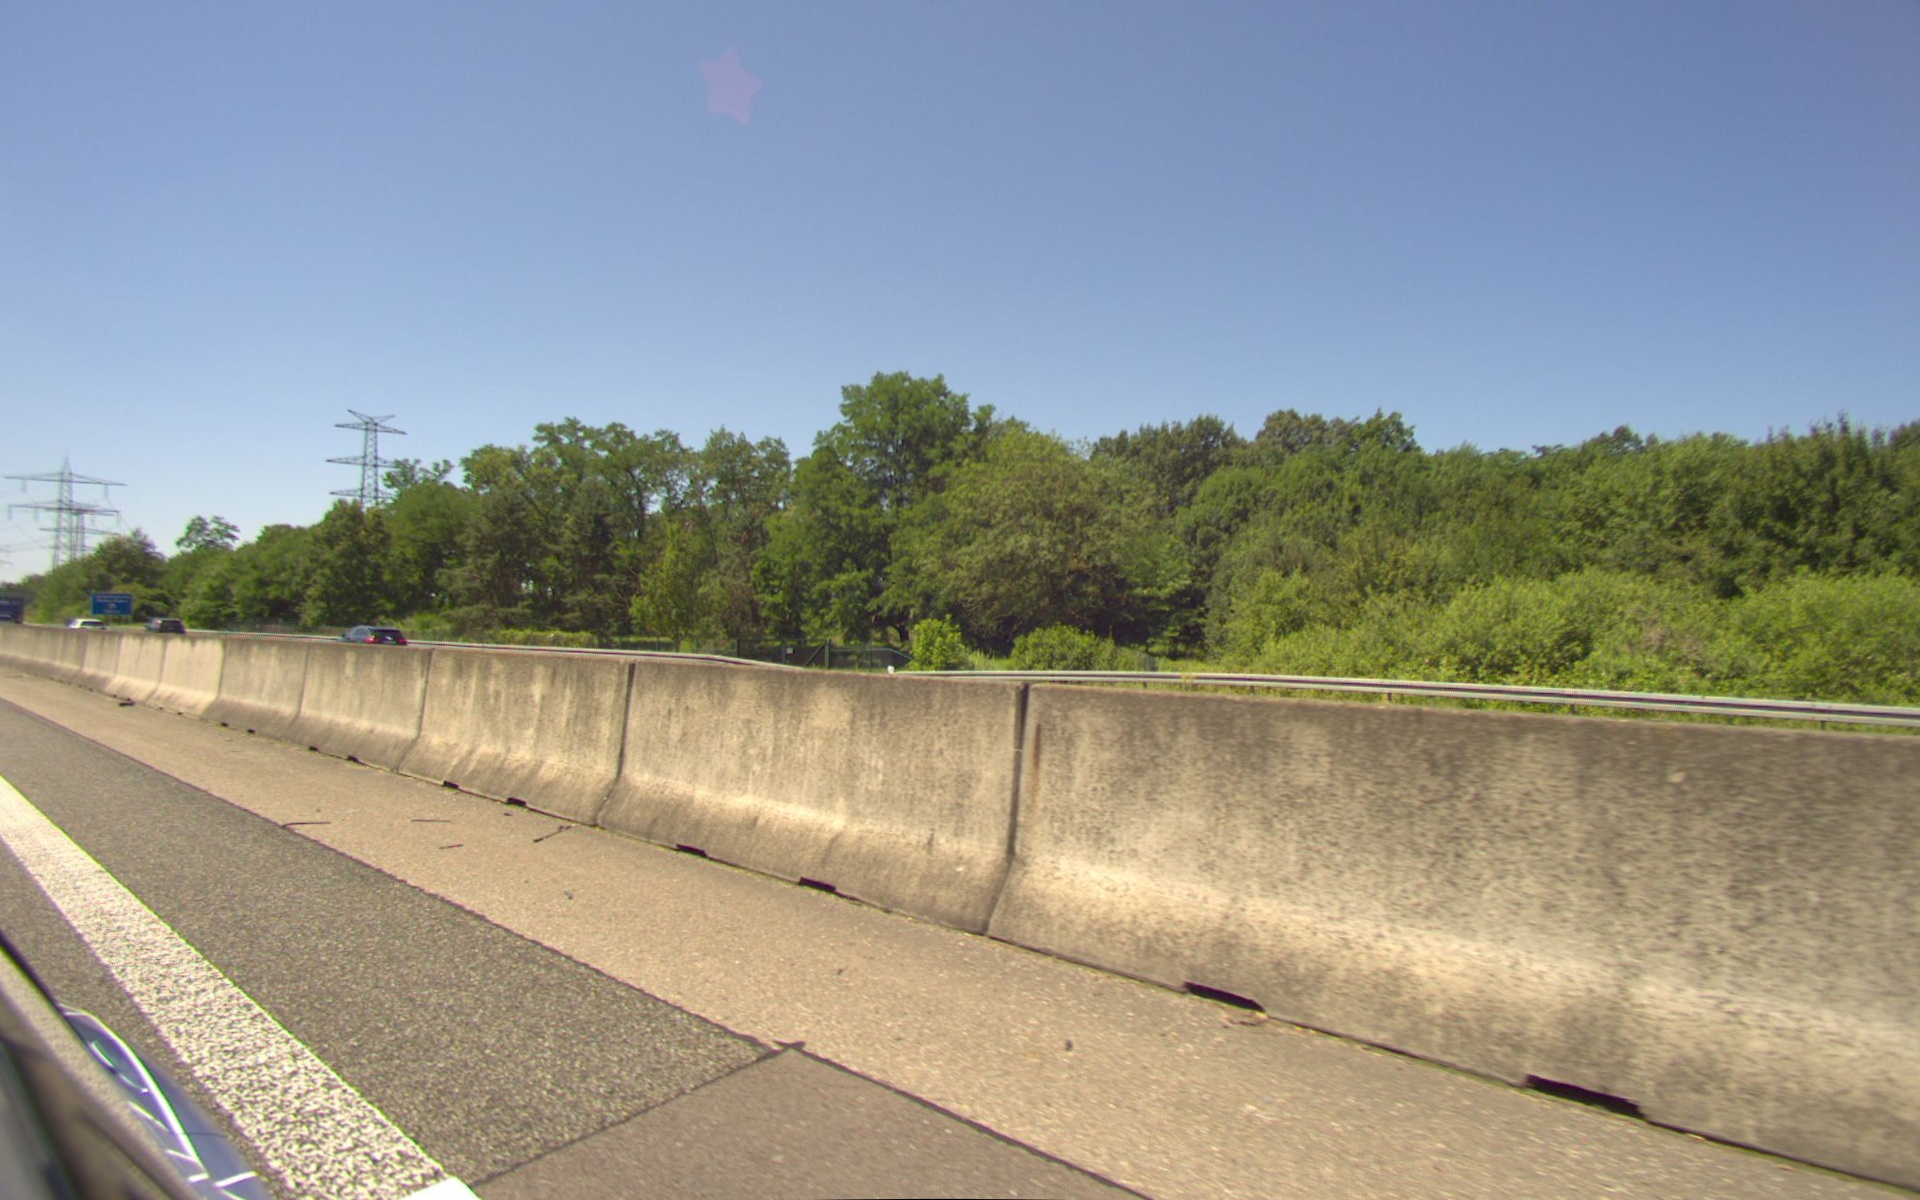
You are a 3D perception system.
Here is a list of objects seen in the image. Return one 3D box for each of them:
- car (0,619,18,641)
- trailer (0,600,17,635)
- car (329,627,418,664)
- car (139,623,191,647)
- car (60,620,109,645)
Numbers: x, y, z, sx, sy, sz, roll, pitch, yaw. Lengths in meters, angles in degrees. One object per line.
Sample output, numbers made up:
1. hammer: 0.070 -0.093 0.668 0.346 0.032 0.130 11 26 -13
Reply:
1. car: -94.041 2.890 99.156 4.936 2.029 1.973 -1 -4 41
2. trailer: -120.223 2.160 125.987 13.457 4.163 2.447 -1 -4 41
3. car: -25.771 1.964 44.411 4.822 1.490 1.888 -1 -4 41
4. car: -56.151 2.445 71.434 4.681 1.570 1.973 -1 -4 41
5. car: -58.641 2.174 67.770 4.681 1.550 1.755 -1 -4 41
